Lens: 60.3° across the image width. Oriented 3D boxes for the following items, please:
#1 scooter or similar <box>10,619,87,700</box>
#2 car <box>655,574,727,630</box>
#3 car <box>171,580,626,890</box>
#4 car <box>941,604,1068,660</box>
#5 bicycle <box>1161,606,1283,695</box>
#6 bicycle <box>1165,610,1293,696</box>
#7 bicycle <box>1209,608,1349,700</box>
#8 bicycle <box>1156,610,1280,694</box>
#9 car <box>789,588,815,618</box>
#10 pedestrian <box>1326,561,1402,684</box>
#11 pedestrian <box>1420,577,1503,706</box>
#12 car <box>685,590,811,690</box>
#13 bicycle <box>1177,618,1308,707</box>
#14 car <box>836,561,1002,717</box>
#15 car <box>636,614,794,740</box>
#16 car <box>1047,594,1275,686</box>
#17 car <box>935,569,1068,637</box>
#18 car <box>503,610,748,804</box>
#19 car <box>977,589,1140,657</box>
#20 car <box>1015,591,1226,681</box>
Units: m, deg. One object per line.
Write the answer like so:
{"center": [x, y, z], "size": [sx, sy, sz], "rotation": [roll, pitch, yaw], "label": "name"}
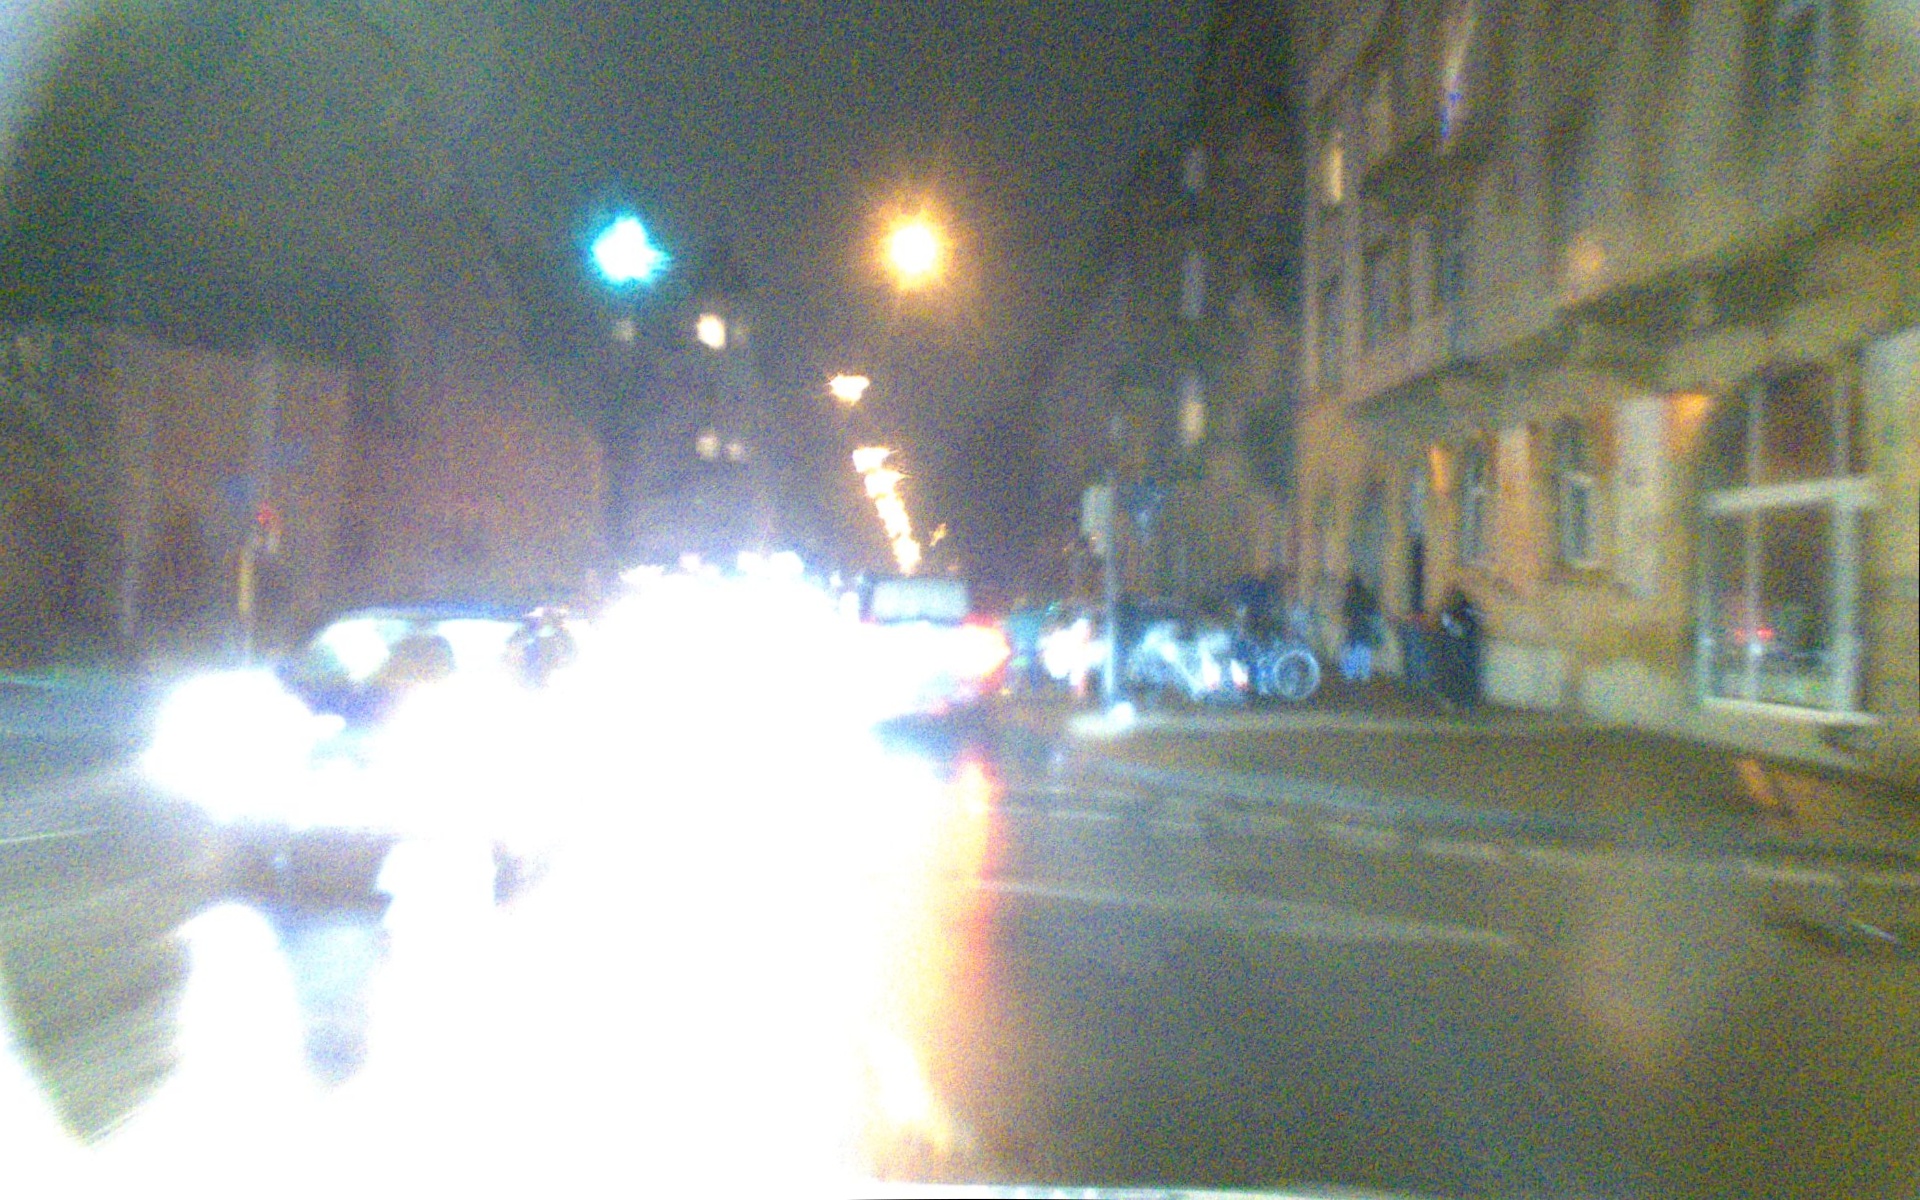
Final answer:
{"center": [-14.483, 0.942, 26.291], "size": [1.064, 1.261, 0.283], "rotation": [1, 0, -30], "label": "scooter or similar"}
{"center": [-10.016, 0.050, 61.409], "size": [1.961, 2.006, 4.279], "rotation": [1, 0, -19], "label": "car"}
{"center": [-3.253, 0.682, 10.413], "size": [1.673, 1.569, 3.986], "rotation": [1, 0, -3], "label": "car"}
{"center": [1.504, 1.047, 55.154], "size": [4.147, 1.674, 1.744], "rotation": [-2, 1, -40], "label": "car"}
{"center": [4.296, 0.819, 27.158], "size": [1.860, 1.384, 0.595], "rotation": [-1, 0, -7], "label": "bicycle"}
{"center": [4.200, 0.824, 25.845], "size": [1.860, 1.273, 0.595], "rotation": [-1, 0, -7], "label": "bicycle"}
{"center": [4.664, 0.777, 24.233], "size": [1.860, 1.273, 0.709], "rotation": [-1, 0, -6], "label": "bicycle"}
{"center": [4.127, 0.826, 26.515], "size": [1.860, 1.273, 0.595], "rotation": [-1, 0, -7], "label": "bicycle"}
{"center": [-10.724, 0.179, 112.129], "size": [1.691, 2.006, 4.217], "rotation": [1, 0, -5], "label": "car"}
{"center": [6.406, 0.348, 26.273], "size": [0.938, 1.914, 1.000], "rotation": [0, 0, -1], "label": "pedestrian"}
{"center": [6.549, 0.527, 21.619], "size": [0.765, 1.646, 1.000], "rotation": [0, 0, -1], "label": "pedestrian"}
{"center": [-3.618, 0.628, 28.996], "size": [1.752, 1.581, 4.852], "rotation": [1, 0, -2], "label": "car"}
{"center": [4.284, 0.944, 25.123], "size": [1.860, 1.273, 0.595], "rotation": [-1, 0, -7], "label": "bicycle"}
{"center": [-0.583, 0.491, 23.445], "size": [2.124, 2.006, 4.301], "rotation": [0, 0, -2], "label": "car"}
{"center": [-3.159, 0.953, 22.011], "size": [1.635, 1.445, 4.095], "rotation": [1, 0, -2], "label": "car"}
{"center": [3.726, 0.678, 30.315], "size": [4.146, 1.483, 1.831], "rotation": [-2, 1, -40], "label": "car"}
{"center": [1.616, 0.077, 63.083], "size": [4.963, 2.433, 2.109], "rotation": [-2, 1, -40], "label": "car"}
{"center": [-3.110, 0.928, 16.122], "size": [1.635, 1.589, 4.006], "rotation": [1, 0, -1], "label": "car"}
{"center": [2.691, 0.594, 45.144], "size": [4.115, 1.674, 1.758], "rotation": [-1, 1, -23], "label": "car"}
{"center": [3.268, 0.665, 33.230], "size": [4.146, 1.604, 1.855], "rotation": [-2, 1, -40], "label": "car"}
